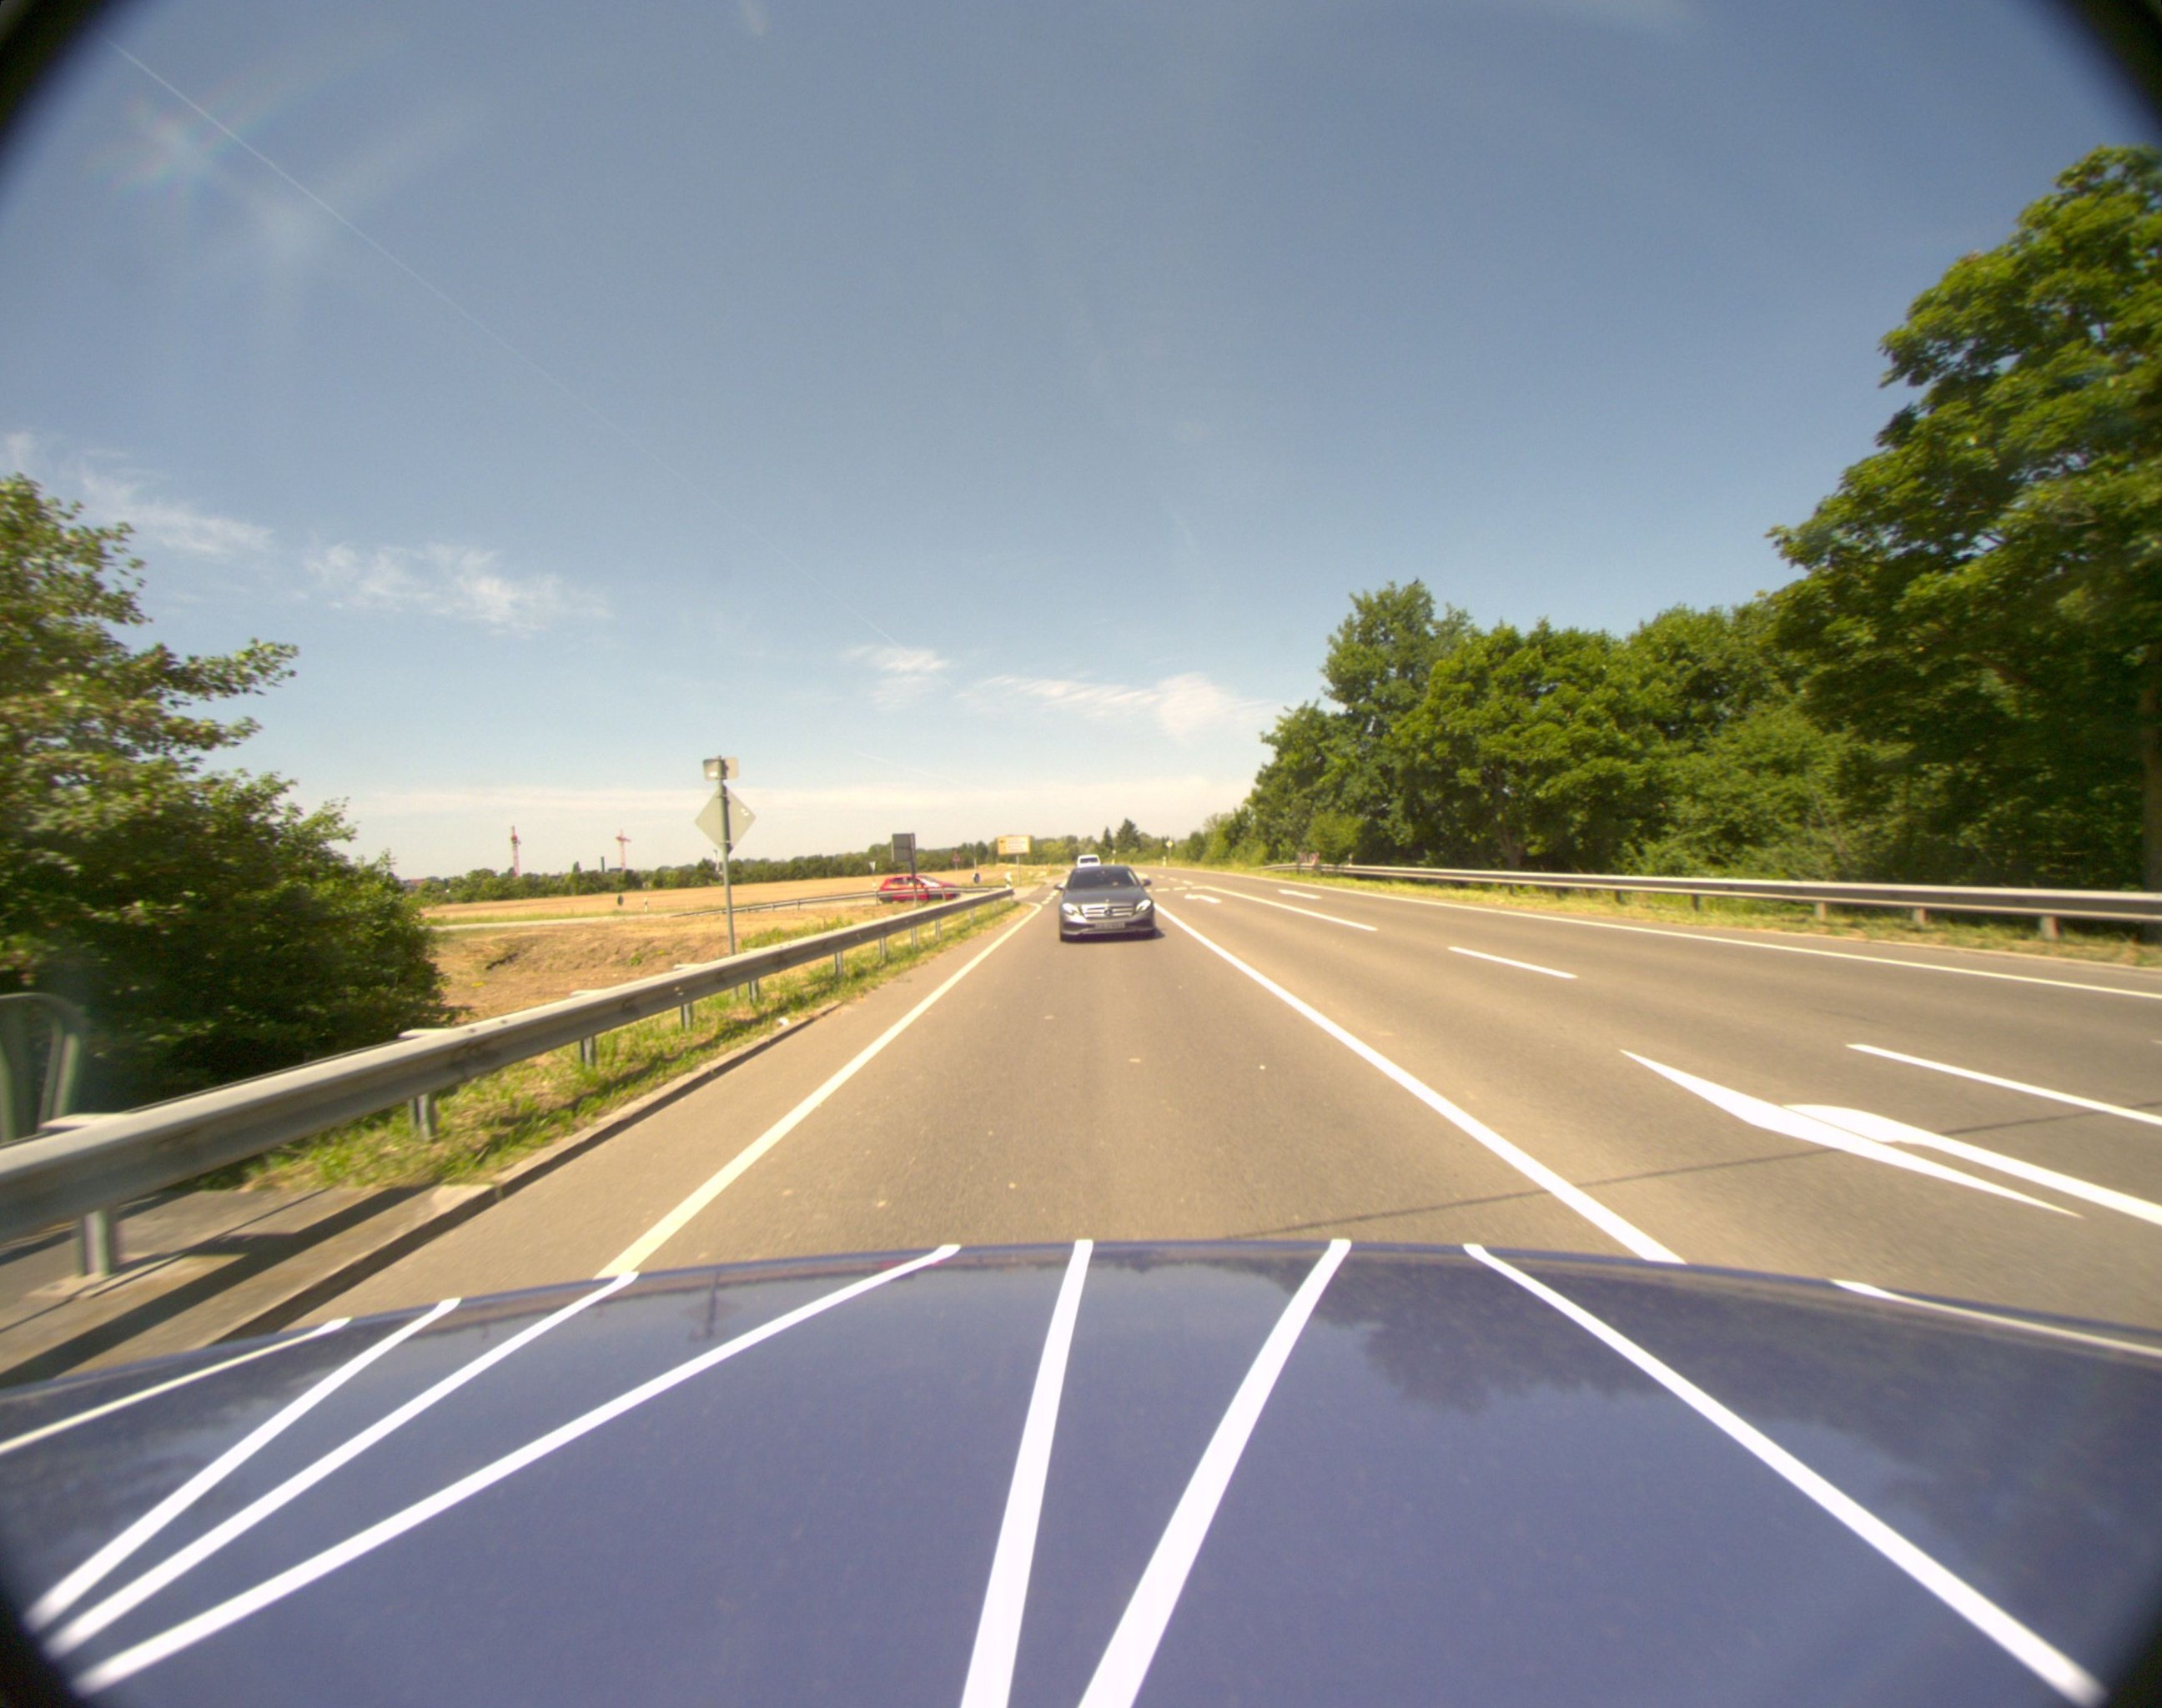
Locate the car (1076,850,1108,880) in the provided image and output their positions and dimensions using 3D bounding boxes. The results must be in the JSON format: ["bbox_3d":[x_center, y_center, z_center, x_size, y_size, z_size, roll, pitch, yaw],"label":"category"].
[{"bbox_3d":[0.817,0.783,58.934,2.179,2.002,5.024,-6,0,-1],"label":"car"}]

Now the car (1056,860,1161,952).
[{"bbox_3d":[0.639,0.978,16.214,1.831,1.540,4.499,-4,0,3],"label":"car"}]

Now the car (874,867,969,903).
[{"bbox_3d":[-7.873,1.540,37.567,4.159,1.410,1.781,-4,1,14],"label":"car"}]
